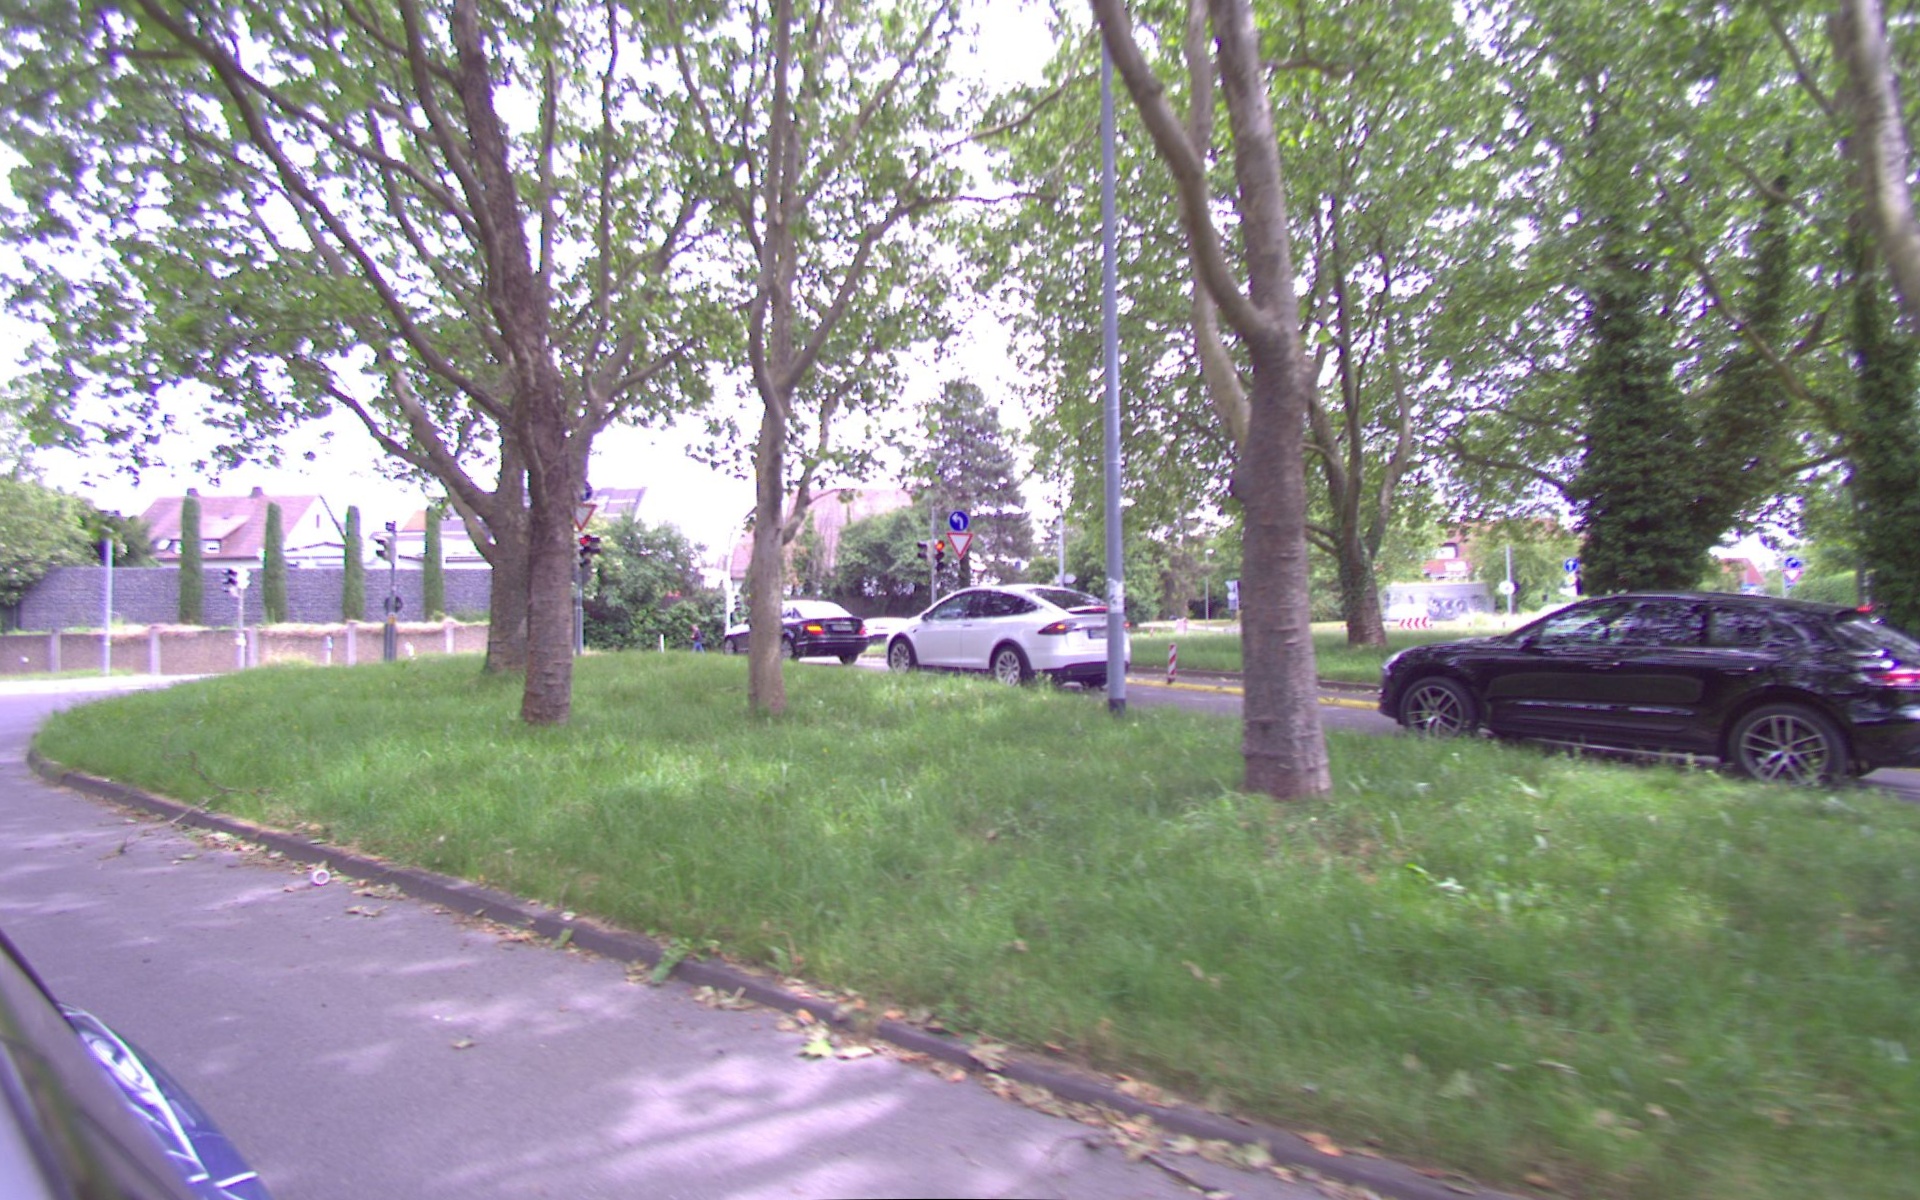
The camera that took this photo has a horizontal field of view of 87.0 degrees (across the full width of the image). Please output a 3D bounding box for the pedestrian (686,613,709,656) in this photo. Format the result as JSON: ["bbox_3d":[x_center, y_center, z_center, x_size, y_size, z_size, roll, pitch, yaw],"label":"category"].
[{"bbox_3d":[-12.652,1.649,48.760,0.840,2.029,0.956,-1,-3,-28],"label":"pedestrian"}]

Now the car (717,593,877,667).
[{"bbox_3d":[-3.832,0.648,23.196,1.734,1.529,4.396,0,-1,-37],"label":"car"}]

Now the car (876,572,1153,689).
[{"bbox_3d":[0.719,0.561,16.919,1.827,1.671,4.916,0,-3,-38],"label":"car"}]

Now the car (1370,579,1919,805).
[{"bbox_3d":[6.399,0.630,9.295,1.734,1.603,4.623,0,1,-38],"label":"car"}]
